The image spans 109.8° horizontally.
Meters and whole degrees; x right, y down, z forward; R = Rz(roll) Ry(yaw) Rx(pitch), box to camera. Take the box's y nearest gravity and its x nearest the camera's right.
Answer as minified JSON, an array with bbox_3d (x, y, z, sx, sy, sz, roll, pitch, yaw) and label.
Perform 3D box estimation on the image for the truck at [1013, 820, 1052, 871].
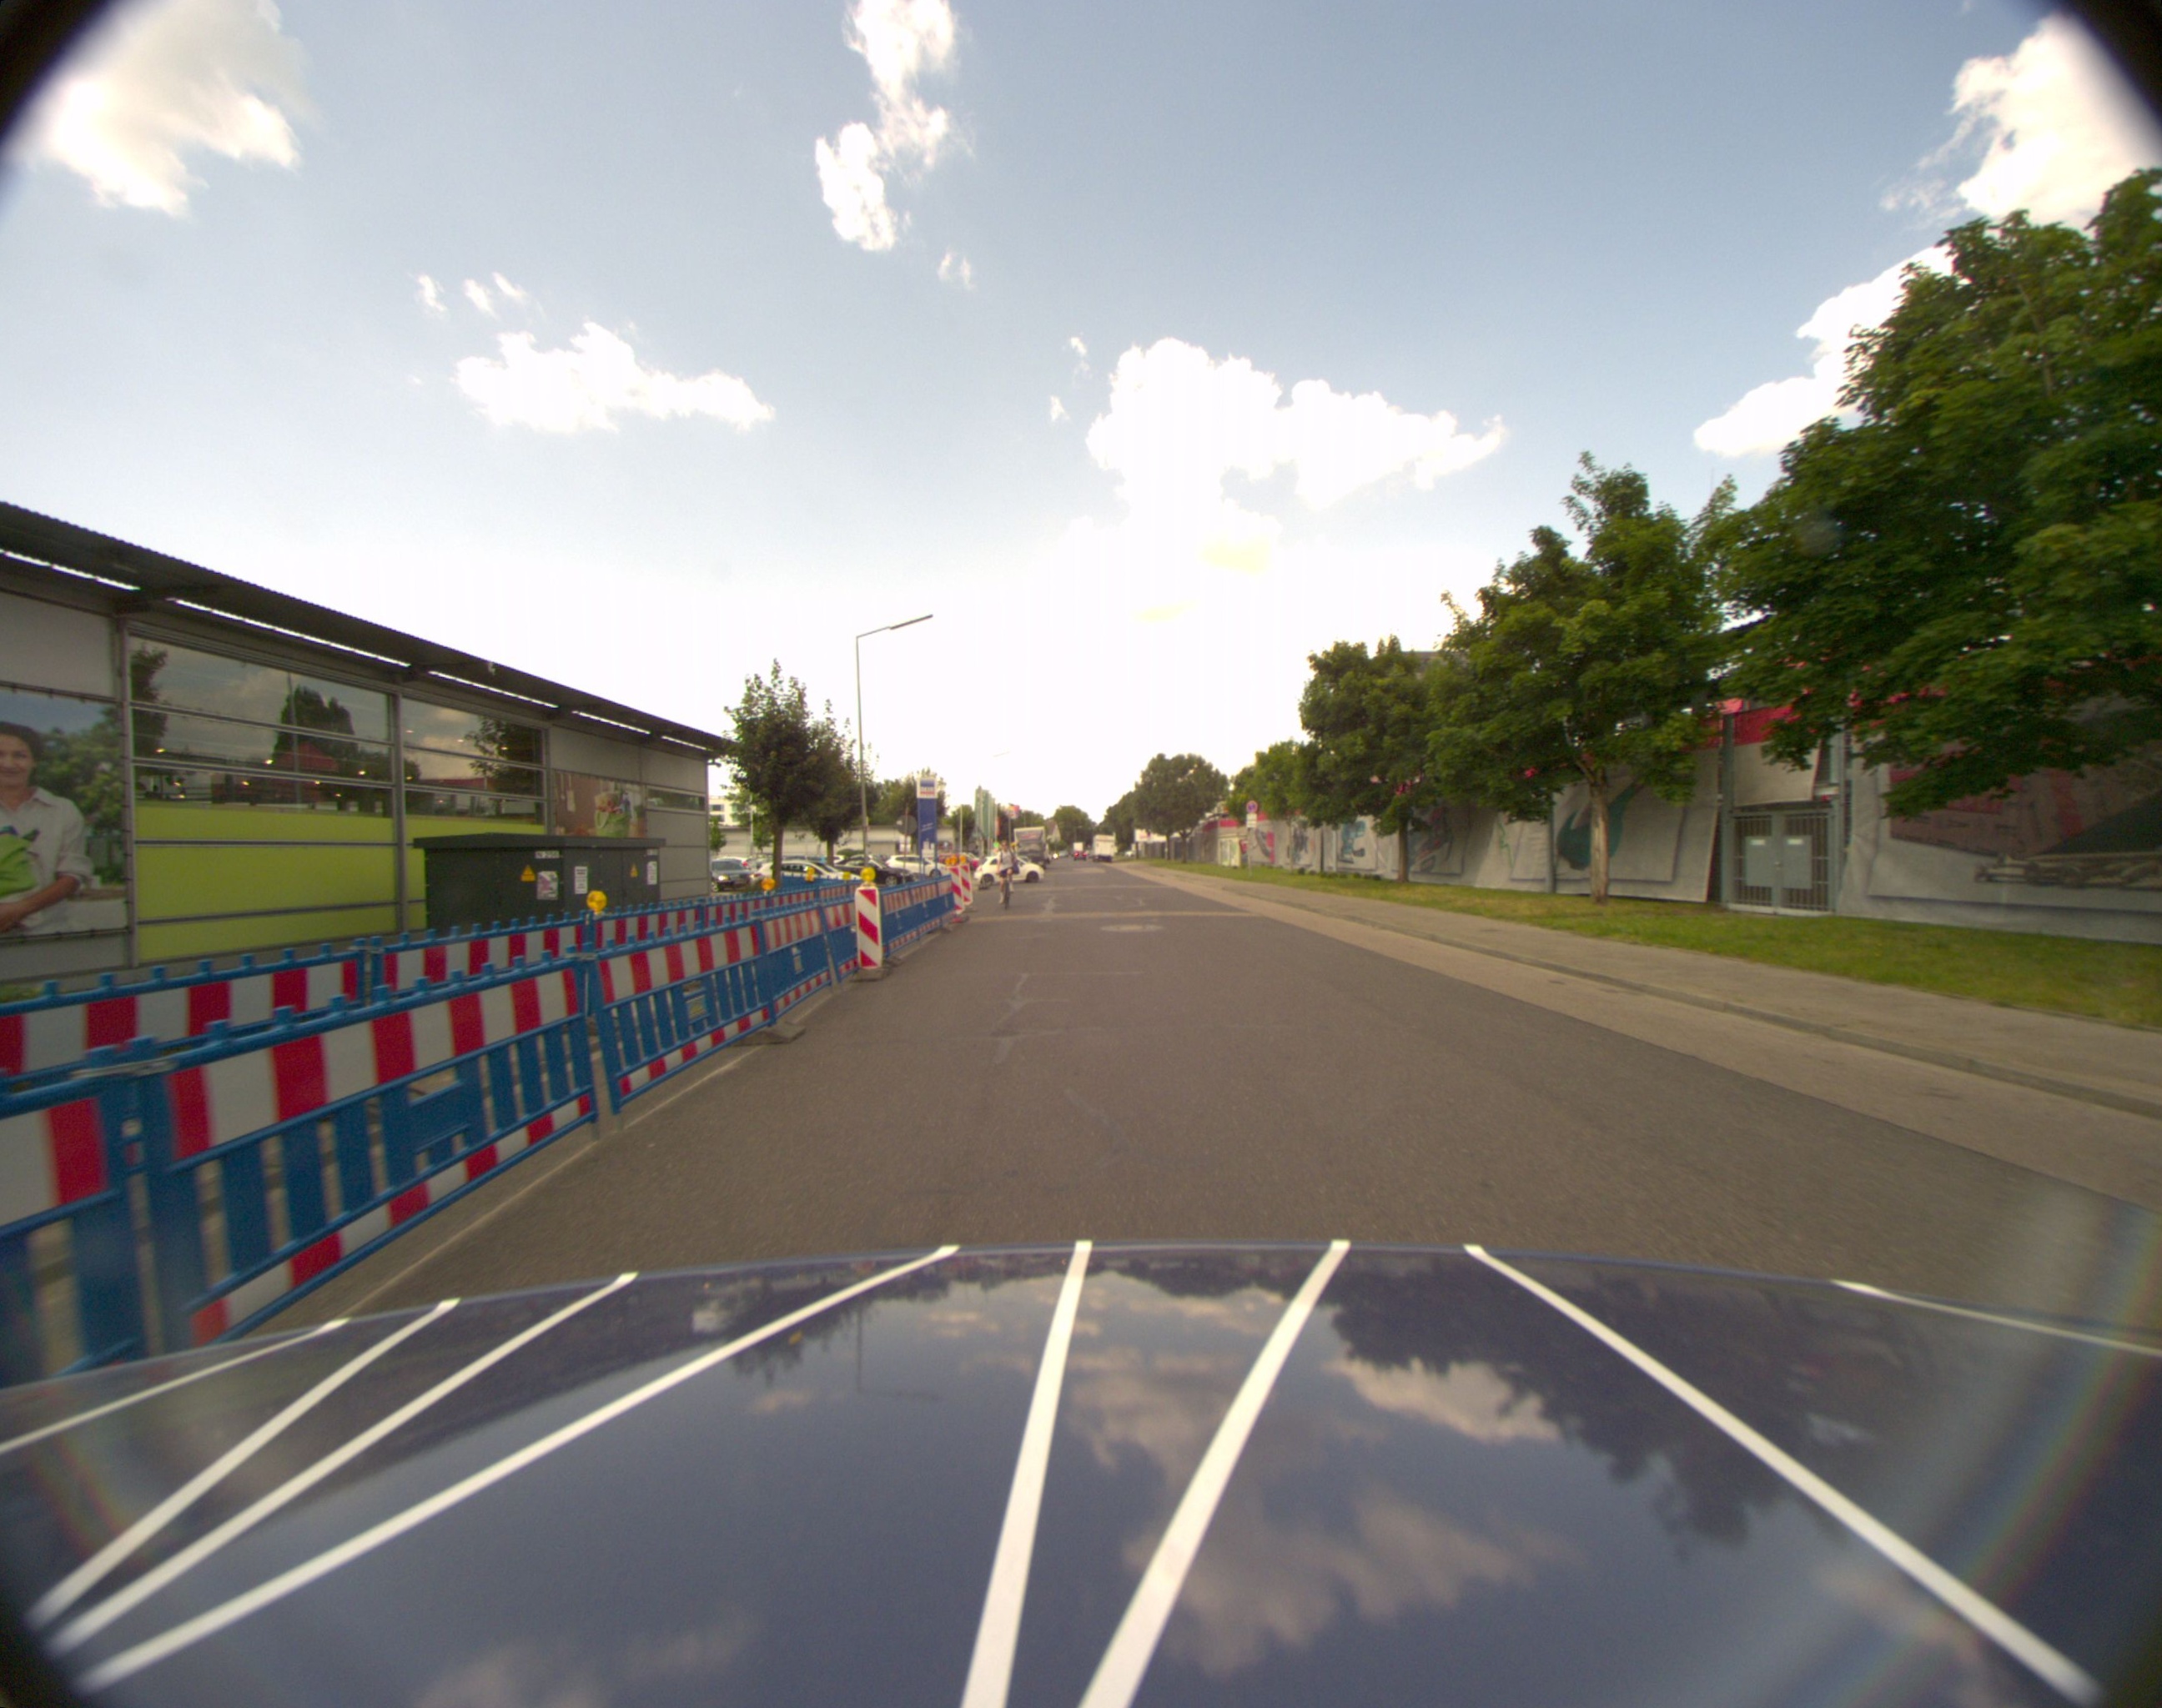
[{"bbox_3d":[-4.227,-0.771,67.409,2.785,4.092,8.277,-4,1,-1],"label":"truck"}]

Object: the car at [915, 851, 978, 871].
[{"bbox_3d":[-9.728,0.489,55.215,4.320,1.435,1.846,0,1,-3],"label":"car"}]

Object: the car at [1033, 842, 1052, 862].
[{"bbox_3d":[-4.830,-0.260,96.187,2.057,2.395,5.453,-3,1,-2],"label":"car"}]

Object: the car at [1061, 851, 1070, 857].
[{"bbox_3d":[-3.893,-0.102,189.370,1.983,1.467,3.999,-1,0,-2],"label":"car"}]

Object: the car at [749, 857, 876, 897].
[{"bbox_3d":[-10.111,0.857,28.865,4.114,1.455,1.989,0,1,-2],"label":"car"}]

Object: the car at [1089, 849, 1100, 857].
[{"bbox_3d":[2.617,-0.160,146.692,1.983,1.565,3.999,-1,0,-2],"label":"car"}]

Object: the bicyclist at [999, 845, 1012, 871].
[{"bbox_3d":[-5.713,0.266,57.214,0.796,1.899,0.829,2,1,1],"label":"bicyclist"}]

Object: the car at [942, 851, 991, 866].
[{"bbox_3d":[-10.913,0.433,72.634,4.493,1.429,1.858,0,1,-2],"label":"car"}]

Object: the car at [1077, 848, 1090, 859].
[{"bbox_3d":[0.437,-0.084,120.041,1.879,1.610,4.292,3,0,-1],"label":"car"}]

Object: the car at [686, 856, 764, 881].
[{"bbox_3d":[-22.150,0.891,47.368,4.070,1.475,1.724,0,1,-4],"label":"car"}]

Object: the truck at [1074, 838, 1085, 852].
[{"bbox_3d":[-0.464,-2.630,227.021,2.979,4.132,9.664,-1,0,-2],"label":"truck"}]

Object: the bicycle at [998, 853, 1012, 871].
[{"bbox_3d":[-5.728,0.573,57.215,0.794,1.287,1.882,3,1,1],"label":"bicycle"}]

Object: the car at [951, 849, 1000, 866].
[{"bbox_3d":[-11.075,0.320,80.206,4.906,1.777,1.902,0,1,-2],"label":"car"}]

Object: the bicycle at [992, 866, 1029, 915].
[{"bbox_3d":[-1.919,0.973,21.048,0.800,1.173,2.626,-3,1,-2],"label":"bicycle"}]

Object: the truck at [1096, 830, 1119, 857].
[{"bbox_3d":[3.712,-1.488,107.190,2.755,3.701,7.169,0,1,-1],"label":"truck"}]

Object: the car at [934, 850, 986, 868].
[{"bbox_3d":[-10.291,0.395,65.037,4.299,1.533,1.748,0,1,-6],"label":"car"}]

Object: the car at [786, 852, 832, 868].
[{"bbox_3d":[-26.696,0.567,74.690,3.946,1.475,1.724,0,1,-4],"label":"car"}]

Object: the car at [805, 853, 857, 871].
[{"bbox_3d":[-21.359,0.664,64.977,3.946,1.475,1.724,0,1,-4],"label":"car"}]

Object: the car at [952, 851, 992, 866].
[{"bbox_3d":[-11.184,0.419,77.895,3.821,1.490,1.653,0,1,0],"label":"car"}]

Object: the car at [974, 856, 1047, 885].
[{"bbox_3d":[-3.687,0.828,39.497,3.613,1.461,1.687,0,1,-12],"label":"car"}]

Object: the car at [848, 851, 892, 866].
[{"bbox_3d":[-21.349,0.464,76.920,3.946,1.475,1.724,0,1,-4],"label":"car"}]

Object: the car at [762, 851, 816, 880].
[{"bbox_3d":[-16.500,0.595,43.114,1.724,1.510,3.751,-2,1,-3],"label":"car"}]

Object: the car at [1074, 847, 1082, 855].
[{"bbox_3d":[-0.692,-0.700,188.934,1.797,1.881,3.999,-1,0,-2],"label":"car"}]

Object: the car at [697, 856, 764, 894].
[{"bbox_3d":[-15.589,0.874,33.648,1.690,1.403,4.375,-3,3,-38],"label":"car"}]

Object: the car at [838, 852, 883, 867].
[{"bbox_3d":[-21.581,0.507,74.629,3.946,1.475,1.724,0,1,-4],"label":"car"}]

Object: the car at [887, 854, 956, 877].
[{"bbox_3d":[-9.922,0.708,47.501,3.963,1.403,1.796,1,1,-4],"label":"car"}]

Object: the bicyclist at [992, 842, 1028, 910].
[{"bbox_3d":[-1.945,0.587,21.029,0.808,1.782,1.206,-3,1,-2],"label":"bicyclist"}]

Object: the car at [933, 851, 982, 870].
[{"bbox_3d":[-10.107,0.510,62.572,3.896,1.514,1.748,0,1,-6],"label":"car"}]

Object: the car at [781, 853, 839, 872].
[{"bbox_3d":[-21.295,0.685,59.780,3.993,1.475,1.740,0,1,-4],"label":"car"}]

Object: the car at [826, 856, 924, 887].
[{"bbox_3d":[-9.833,0.829,36.529,4.190,1.422,1.806,0,1,0],"label":"car"}]
